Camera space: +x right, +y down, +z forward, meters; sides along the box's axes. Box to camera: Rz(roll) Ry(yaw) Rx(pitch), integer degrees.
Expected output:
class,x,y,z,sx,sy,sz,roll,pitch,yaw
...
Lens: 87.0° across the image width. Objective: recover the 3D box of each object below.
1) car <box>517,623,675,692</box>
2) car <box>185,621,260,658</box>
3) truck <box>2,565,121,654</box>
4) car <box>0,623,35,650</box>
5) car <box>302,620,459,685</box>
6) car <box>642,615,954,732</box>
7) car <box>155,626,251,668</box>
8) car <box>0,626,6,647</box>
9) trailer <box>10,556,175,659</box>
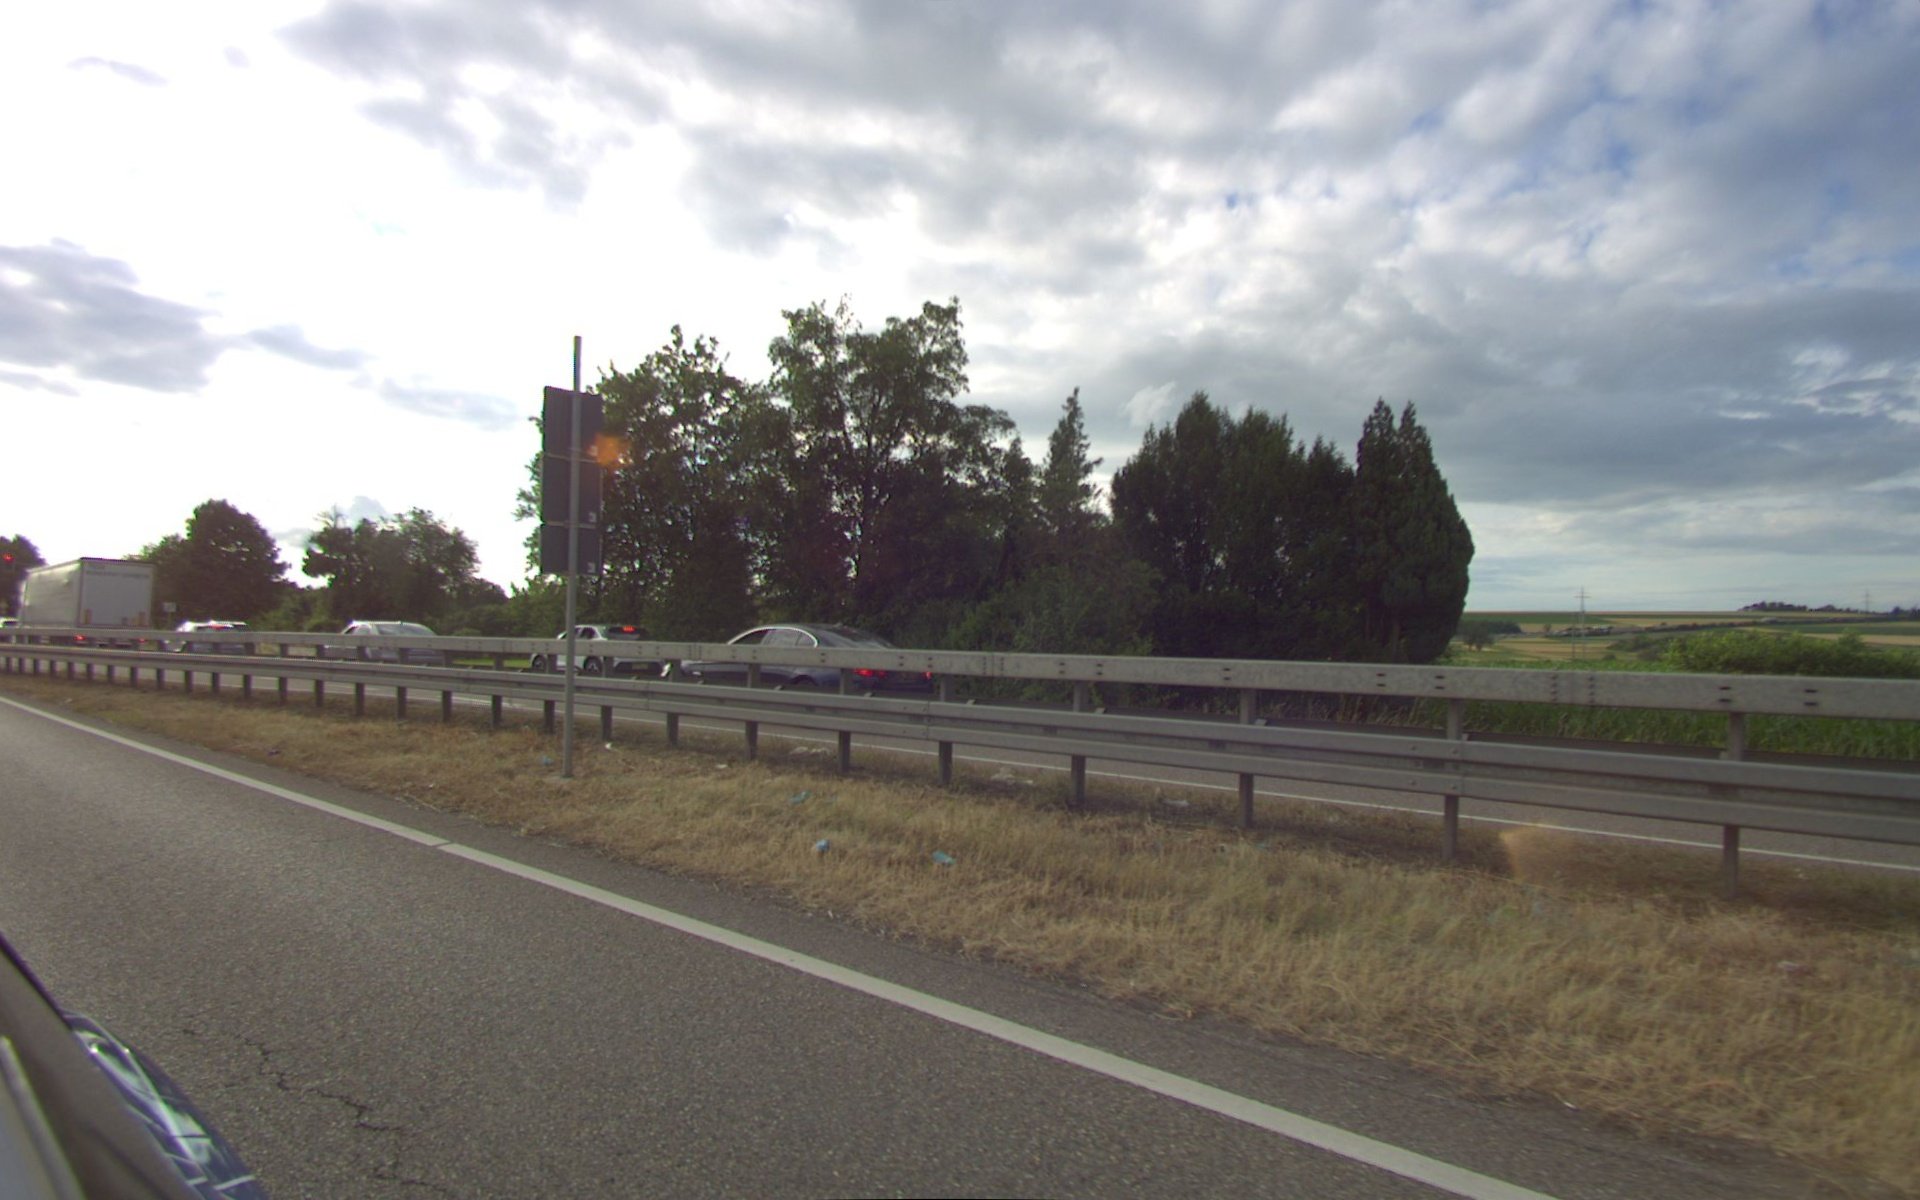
class,x,y,z,sx,sy,sz,roll,pitch,yaw
car,-9.103,1.376,25.203,4.148,1.576,1.848,-1,-3,40
car,-33.573,1.788,46.033,4.156,1.585,1.771,-1,-3,40
truck,-45.512,0.555,51.228,6.044,4.182,3.439,-1,-4,40
car,-58.954,2.245,62.617,4.401,1.622,1.888,-1,-3,40
car,-14.715,1.288,25.576,4.821,1.489,1.848,-1,-3,40
car,-2.558,1.018,15.211,4.931,1.489,1.848,-1,-3,40
car,-26.744,1.643,35.700,4.156,1.396,1.771,-1,-3,40
car,-66.347,2.457,68.516,5.147,1.439,1.888,-1,-3,40
trailer,-40.790,0.466,47.274,13.904,4.182,3.430,-1,-4,40
